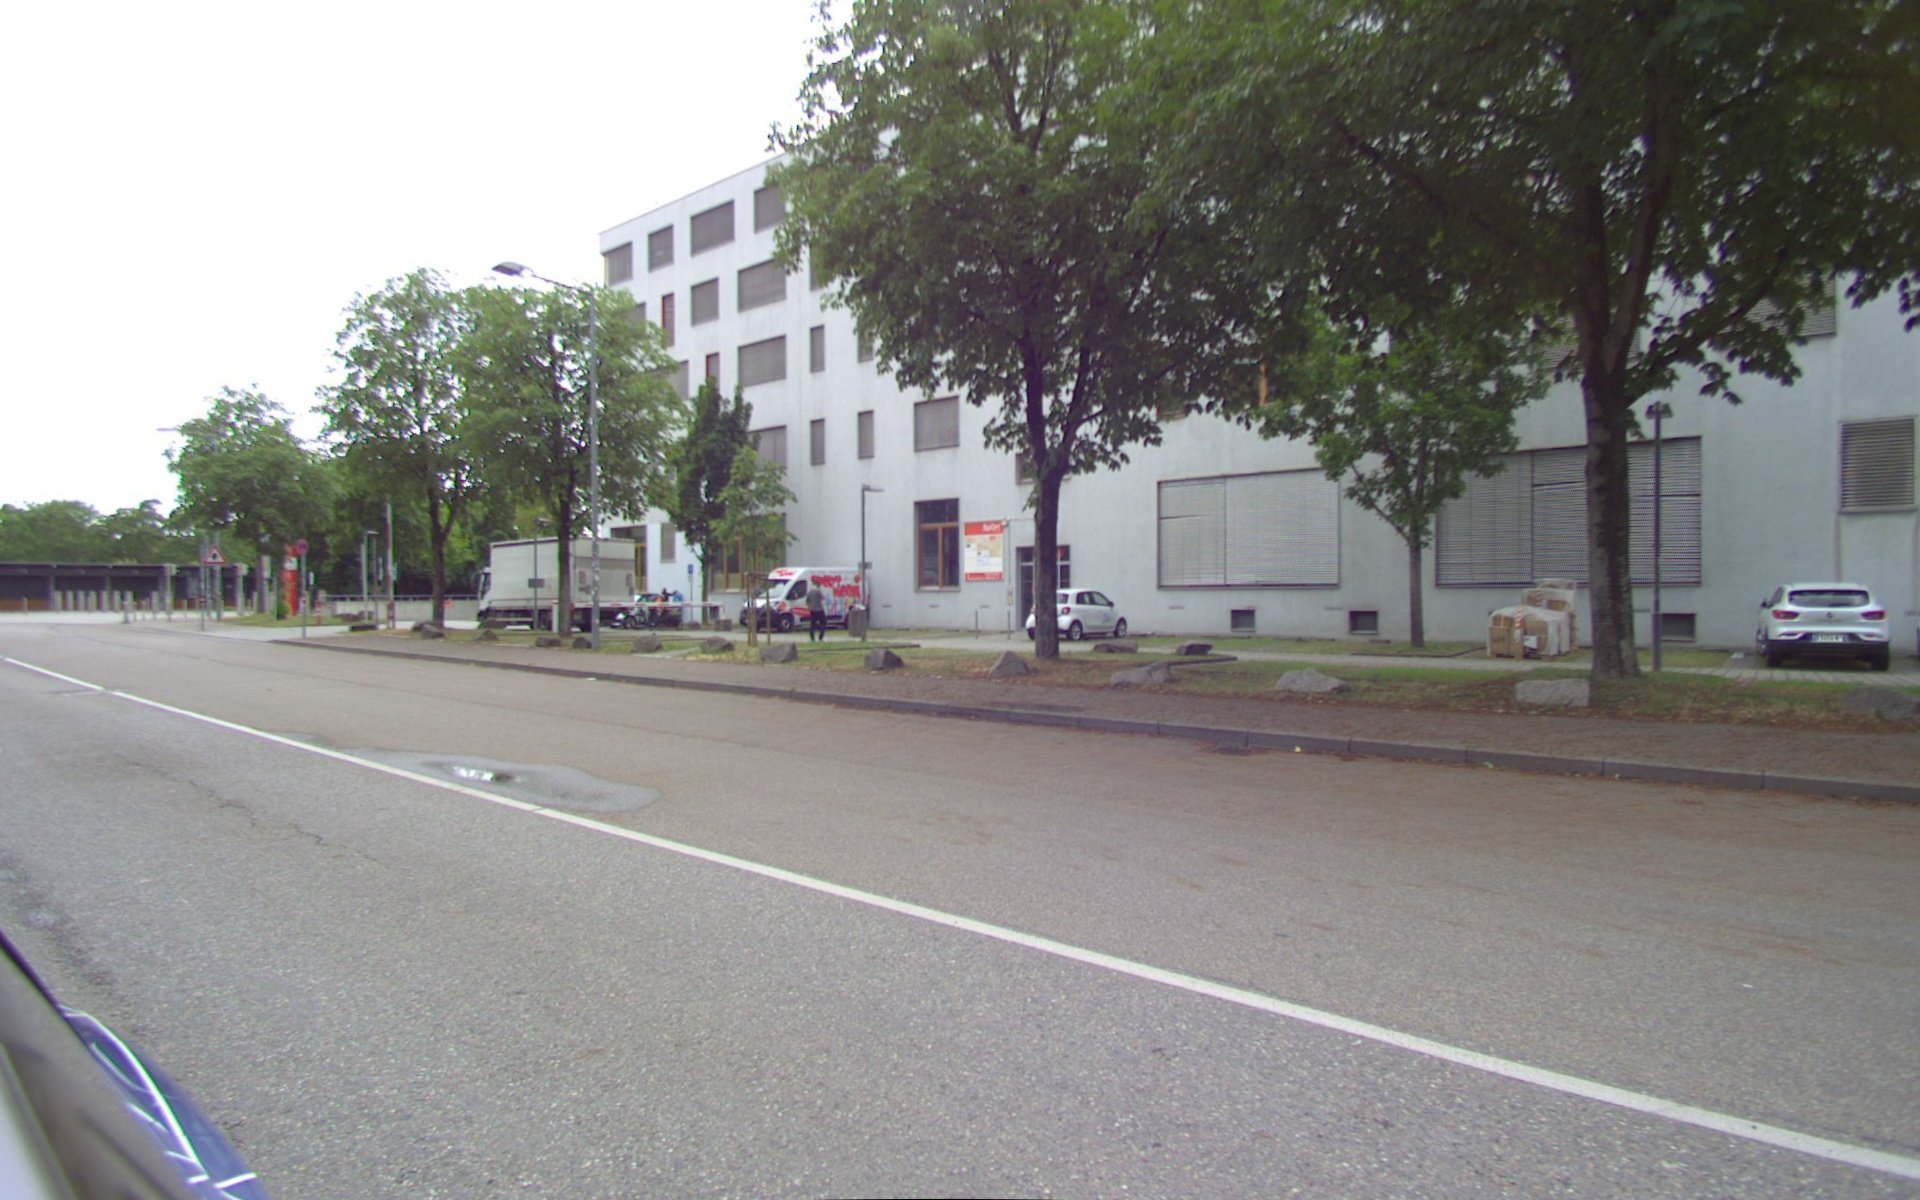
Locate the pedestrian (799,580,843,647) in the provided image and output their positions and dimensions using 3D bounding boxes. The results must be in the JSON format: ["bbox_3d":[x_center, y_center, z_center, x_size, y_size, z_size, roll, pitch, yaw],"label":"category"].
[{"bbox_3d":[-3.586,0.335,26.162,0.785,1.684,0.836,1,2,34],"label":"pedestrian"}]

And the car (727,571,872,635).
[{"bbox_3d":[-6.105,0.038,39.124,2.078,2.295,5.569,1,2,40],"label":"car"}]

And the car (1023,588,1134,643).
[{"bbox_3d":[3.671,0.421,30.920,1.691,1.511,3.576,1,2,40],"label":"car"}]

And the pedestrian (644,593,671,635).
[{"bbox_3d":[-12.008,0.551,40.147,0.873,1.618,0.682,-1,1,-29],"label":"pedestrian"}]

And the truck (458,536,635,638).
[{"bbox_3d":[-16.388,-0.552,39.802,8.354,3.627,2.651,1,2,38],"label":"truck"}]

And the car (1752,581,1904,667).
[{"bbox_3d":[16.731,0.380,19.696,1.896,1.467,3.963,1,2,36],"label":"car"}]
